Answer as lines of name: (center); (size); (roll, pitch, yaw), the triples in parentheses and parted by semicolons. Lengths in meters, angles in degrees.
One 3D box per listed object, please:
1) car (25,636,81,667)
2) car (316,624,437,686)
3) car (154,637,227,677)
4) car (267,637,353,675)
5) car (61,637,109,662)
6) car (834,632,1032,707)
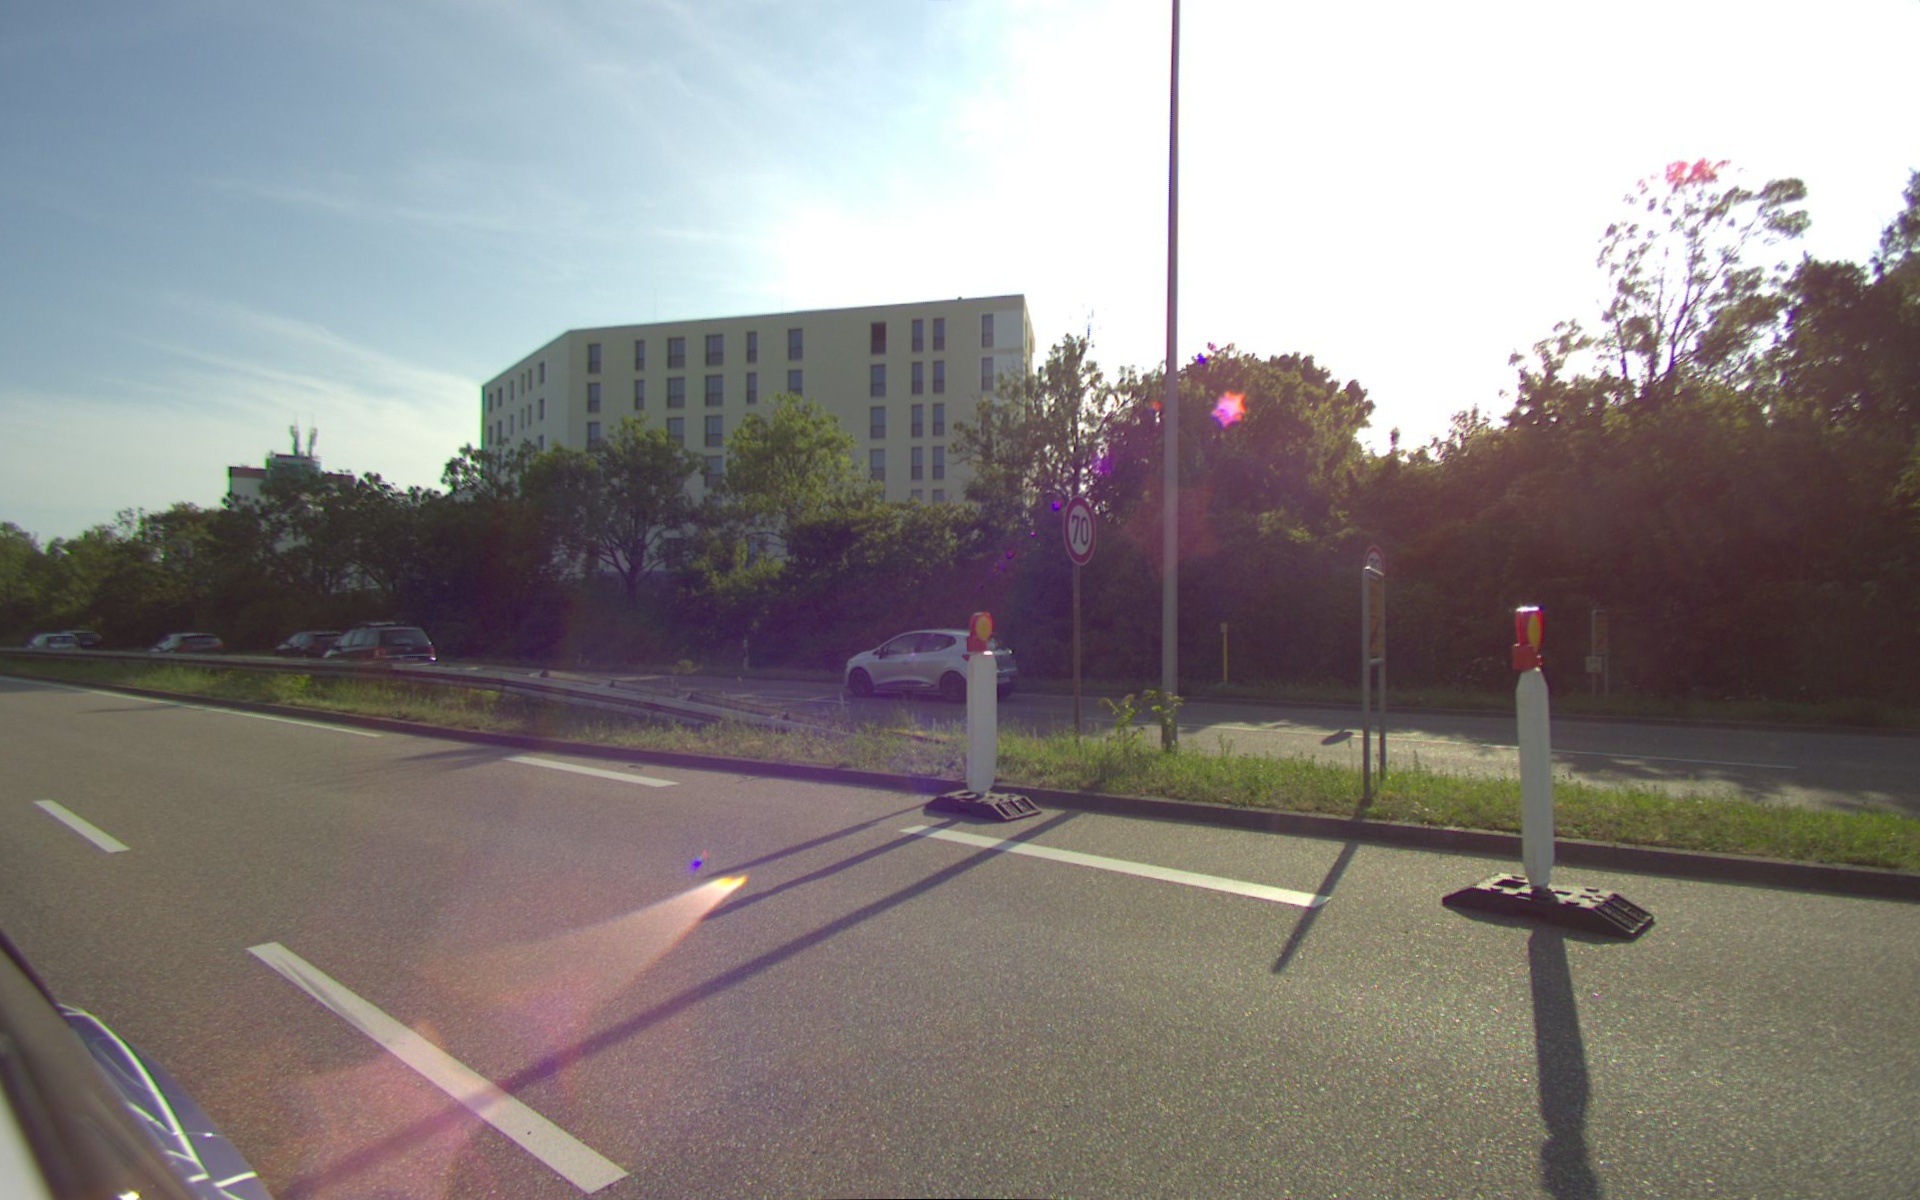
car: (-45.852, 2.577, 51.173); (3.231, 1.453, 1.587); (-2, -1, 38)
car: (-16.716, 1.538, 28.962); (3.517, 1.623, 1.716); (-2, -1, 36)
car: (-30.534, 2.233, 40.126); (3.232, 1.452, 1.587); (-2, -1, 39)
car: (-26.781, 2.282, 41.691); (3.931, 1.452, 1.654); (-2, -1, 36)
car: (-52.757, 2.965, 61.031); (3.231, 1.453, 1.588); (-2, -1, 38)
car: (-0.638, 1.383, 21.011); (4.061, 1.387, 1.623); (-2, -2, 40)
